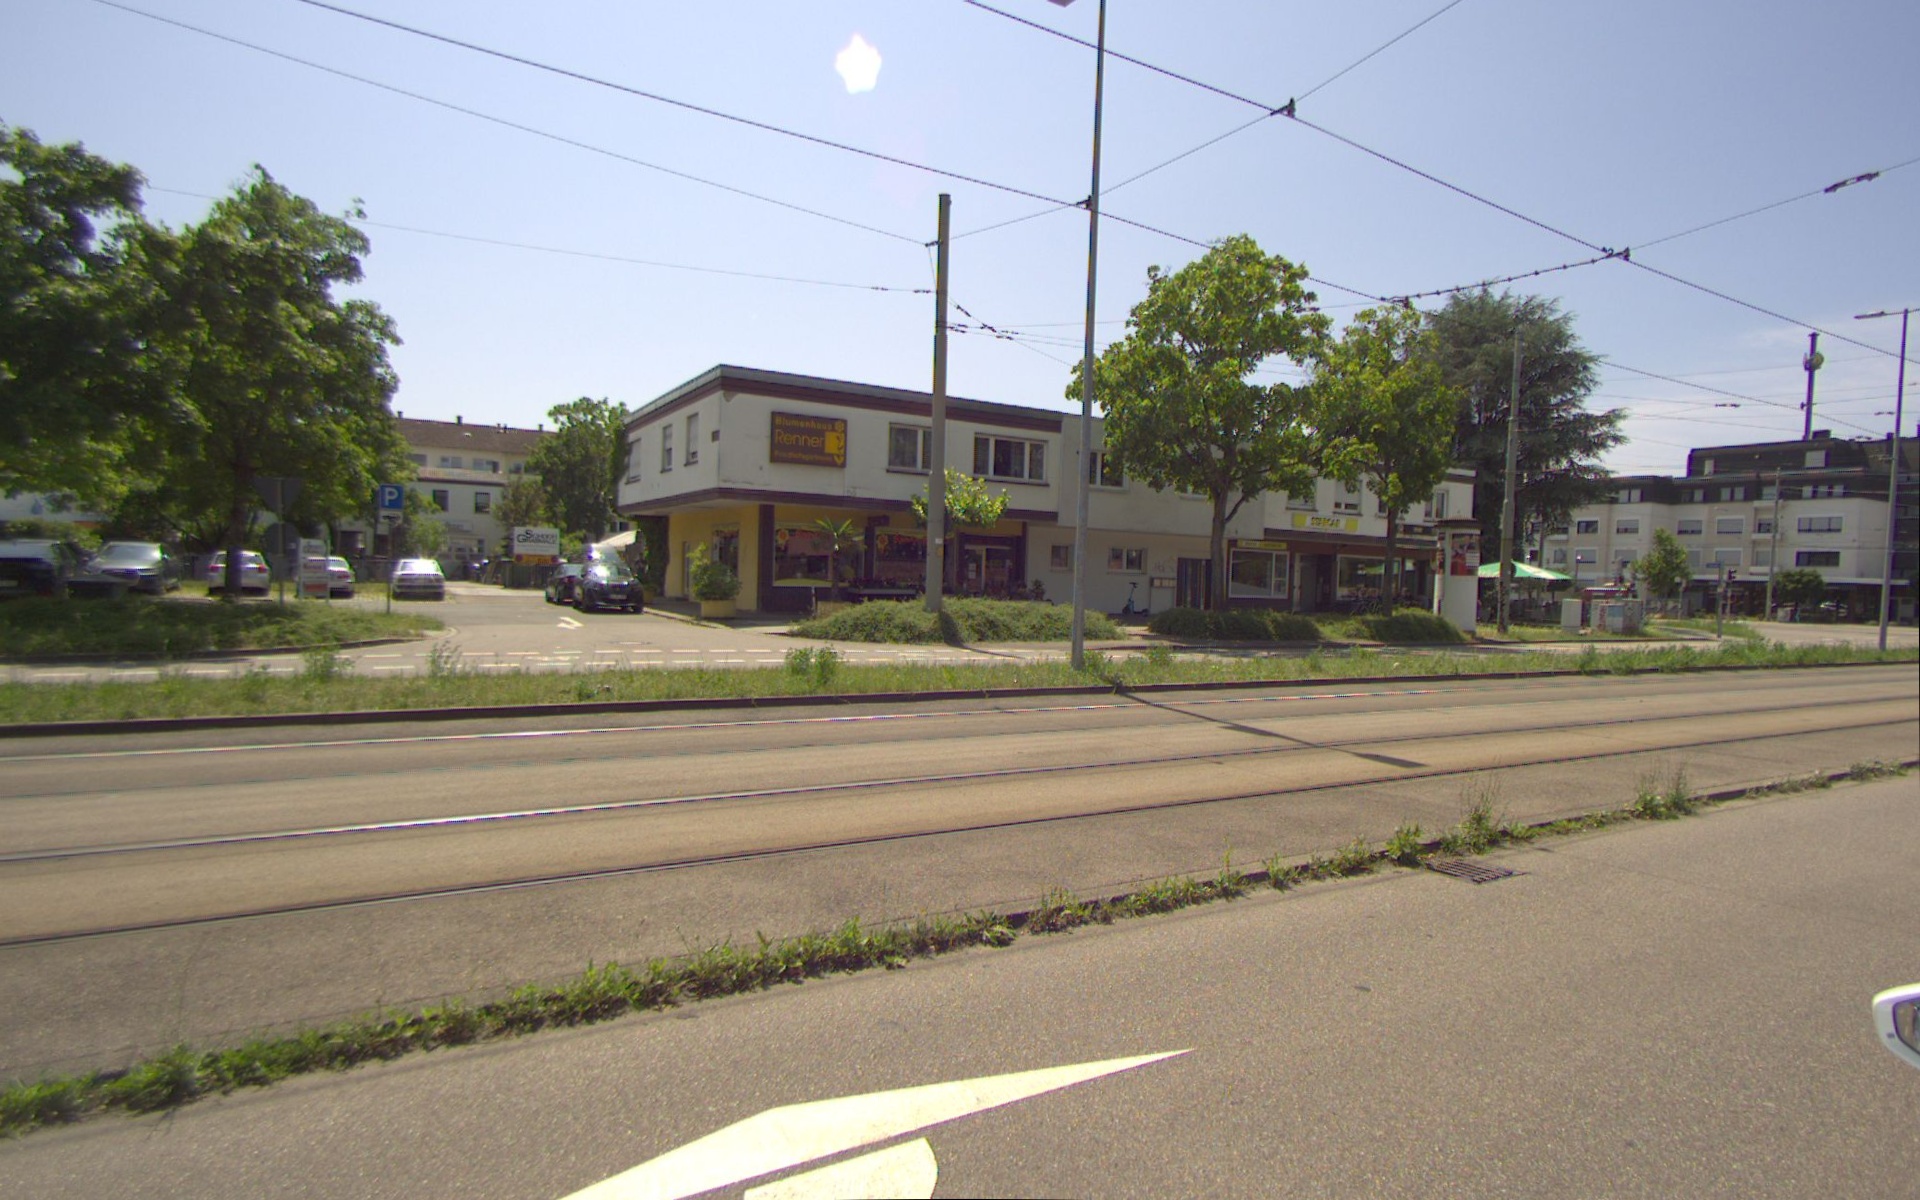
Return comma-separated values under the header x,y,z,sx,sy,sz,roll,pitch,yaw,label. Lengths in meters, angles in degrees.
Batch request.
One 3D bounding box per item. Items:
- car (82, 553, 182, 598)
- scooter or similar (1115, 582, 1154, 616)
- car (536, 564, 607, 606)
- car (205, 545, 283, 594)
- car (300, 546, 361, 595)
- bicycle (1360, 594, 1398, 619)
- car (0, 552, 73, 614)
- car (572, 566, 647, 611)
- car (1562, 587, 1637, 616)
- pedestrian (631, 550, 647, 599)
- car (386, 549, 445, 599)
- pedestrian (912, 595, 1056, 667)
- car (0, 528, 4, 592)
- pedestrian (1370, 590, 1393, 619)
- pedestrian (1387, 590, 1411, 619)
x,y,z,sx,sy,sz,roll,pitch,yaw,label
-26.738,-0.771,32.565,1.742,1.302,3.701,2,0,-28,car
6.448,-0.027,37.186,1.321,1.207,0.455,2,0,-11,scooter or similar
-14.524,-0.532,37.434,1.975,1.440,4.114,1,0,-28,car
-24.899,-1.030,35.038,1.640,1.540,3.971,2,0,-27,car
-22.428,-1.011,35.893,1.501,1.600,3.971,2,0,-27,car
17.582,0.259,42.129,1.738,0.992,0.536,2,0,-31,bicycle
-20.716,-0.408,22.012,1.628,1.248,3.388,1,2,-37,car
-11.207,-0.387,31.965,1.661,1.314,3.970,0,2,-28,car
55.955,0.113,87.960,2.219,2.372,5.038,2,0,-31,car
-12.330,-0.970,38.559,0.466,1.823,0.484,2,0,-31,pedestrian
-19.994,-0.933,36.982,1.781,1.678,3.971,2,0,-27,car
0.749,0.951,30.718,3.955,2.040,1.983,2,0,-31,pedestrian
-31.351,-1.316,30.438,2.200,2.097,5.084,2,0,-30,car
19.247,0.211,45.883,0.832,1.285,0.586,2,0,-30,pedestrian
19.901,0.204,45.558,0.832,1.285,0.586,2,0,-30,pedestrian
